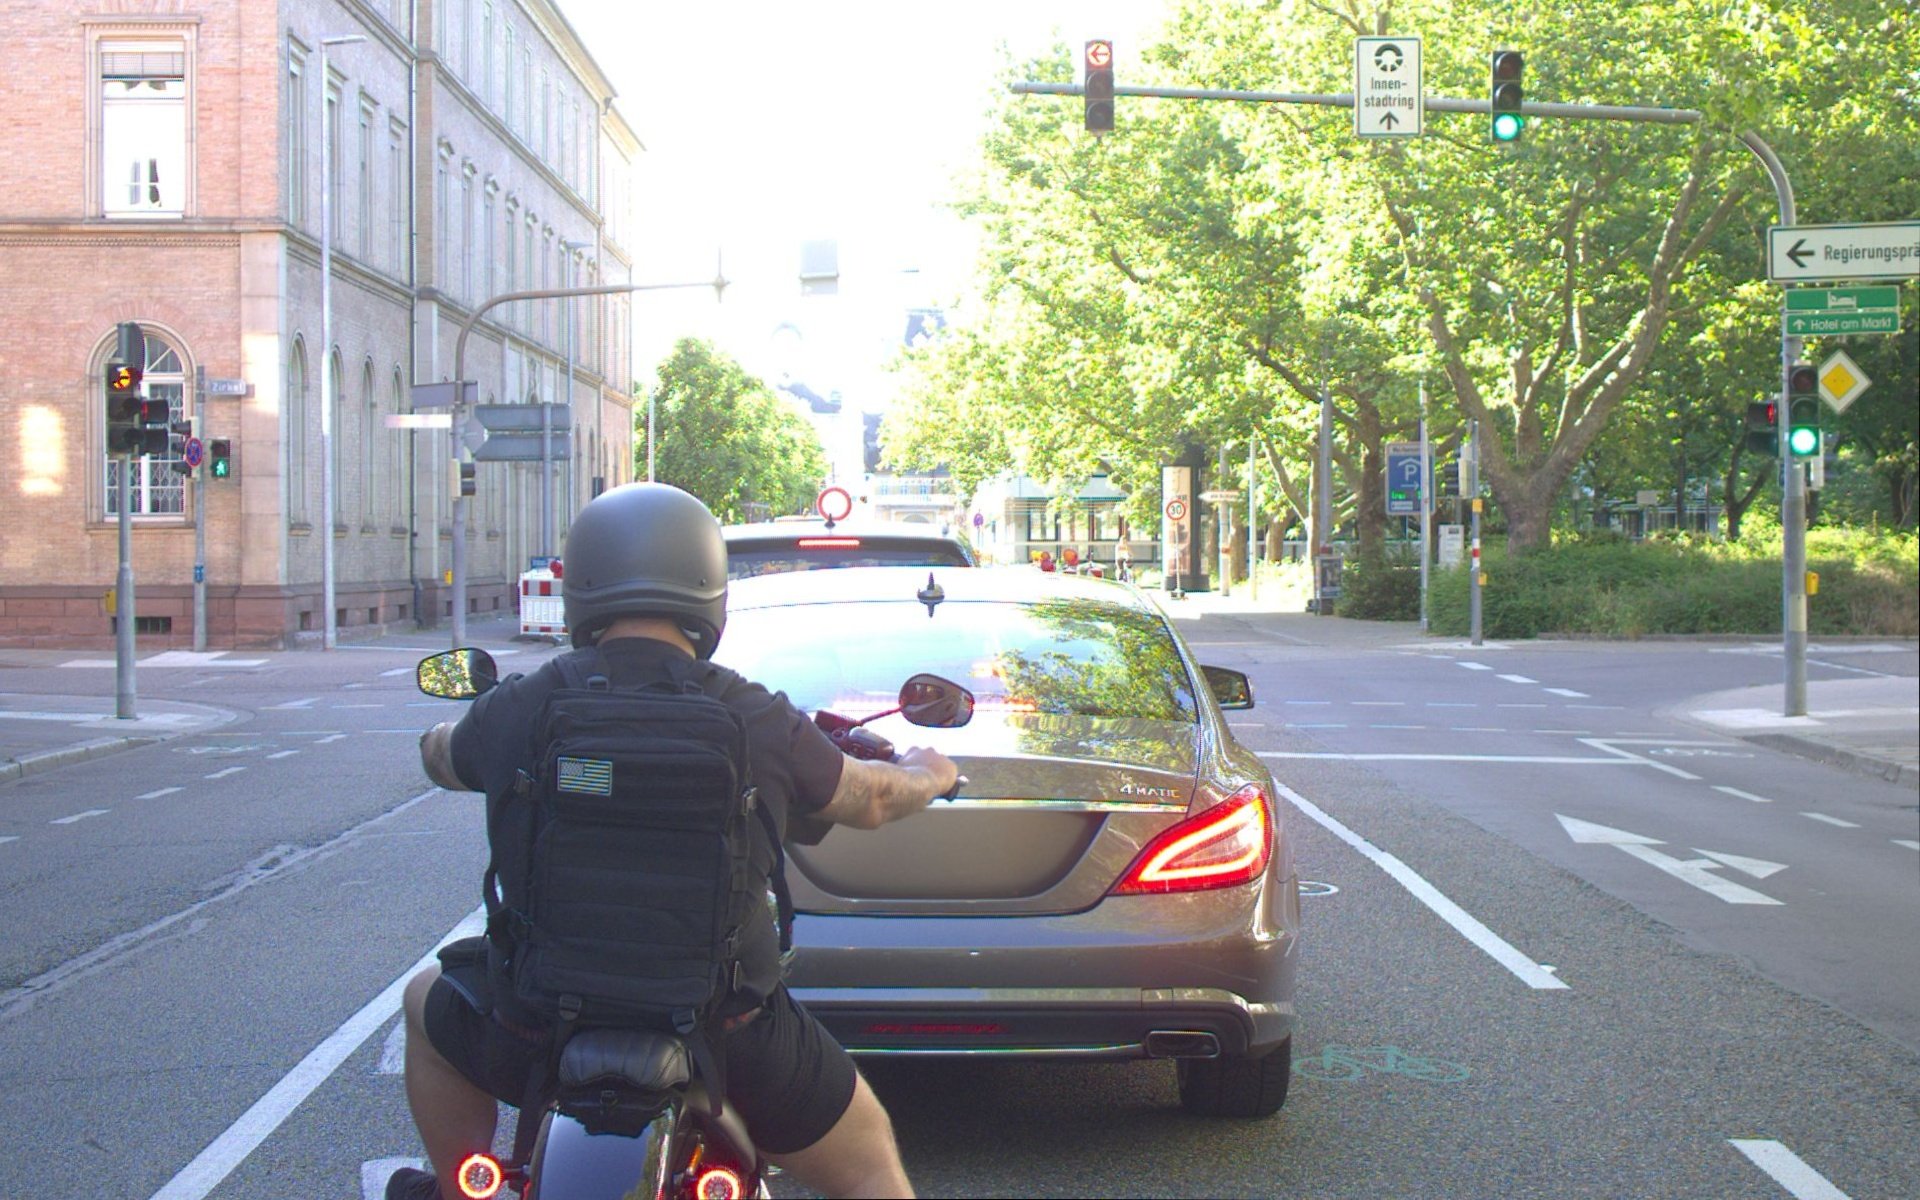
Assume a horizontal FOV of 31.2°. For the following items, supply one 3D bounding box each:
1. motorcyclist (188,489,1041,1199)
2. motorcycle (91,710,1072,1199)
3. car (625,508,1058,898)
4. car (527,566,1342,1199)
[{"bbox_3d":[-0.477,0.629,5.286,1.099,1.560,1.071,1,0,6],"label":"motorcyclist"},{"bbox_3d":[-0.462,0.832,5.510,1.118,1.203,2.212,1,1,6],"label":"motorcycle"},{"bbox_3d":[-0.538,0.427,16.952,1.863,1.672,4.000,1,1,-1],"label":"car"},{"bbox_3d":[-0.079,0.634,9.674,1.822,1.432,3.806,1,1,-1],"label":"car"}]
